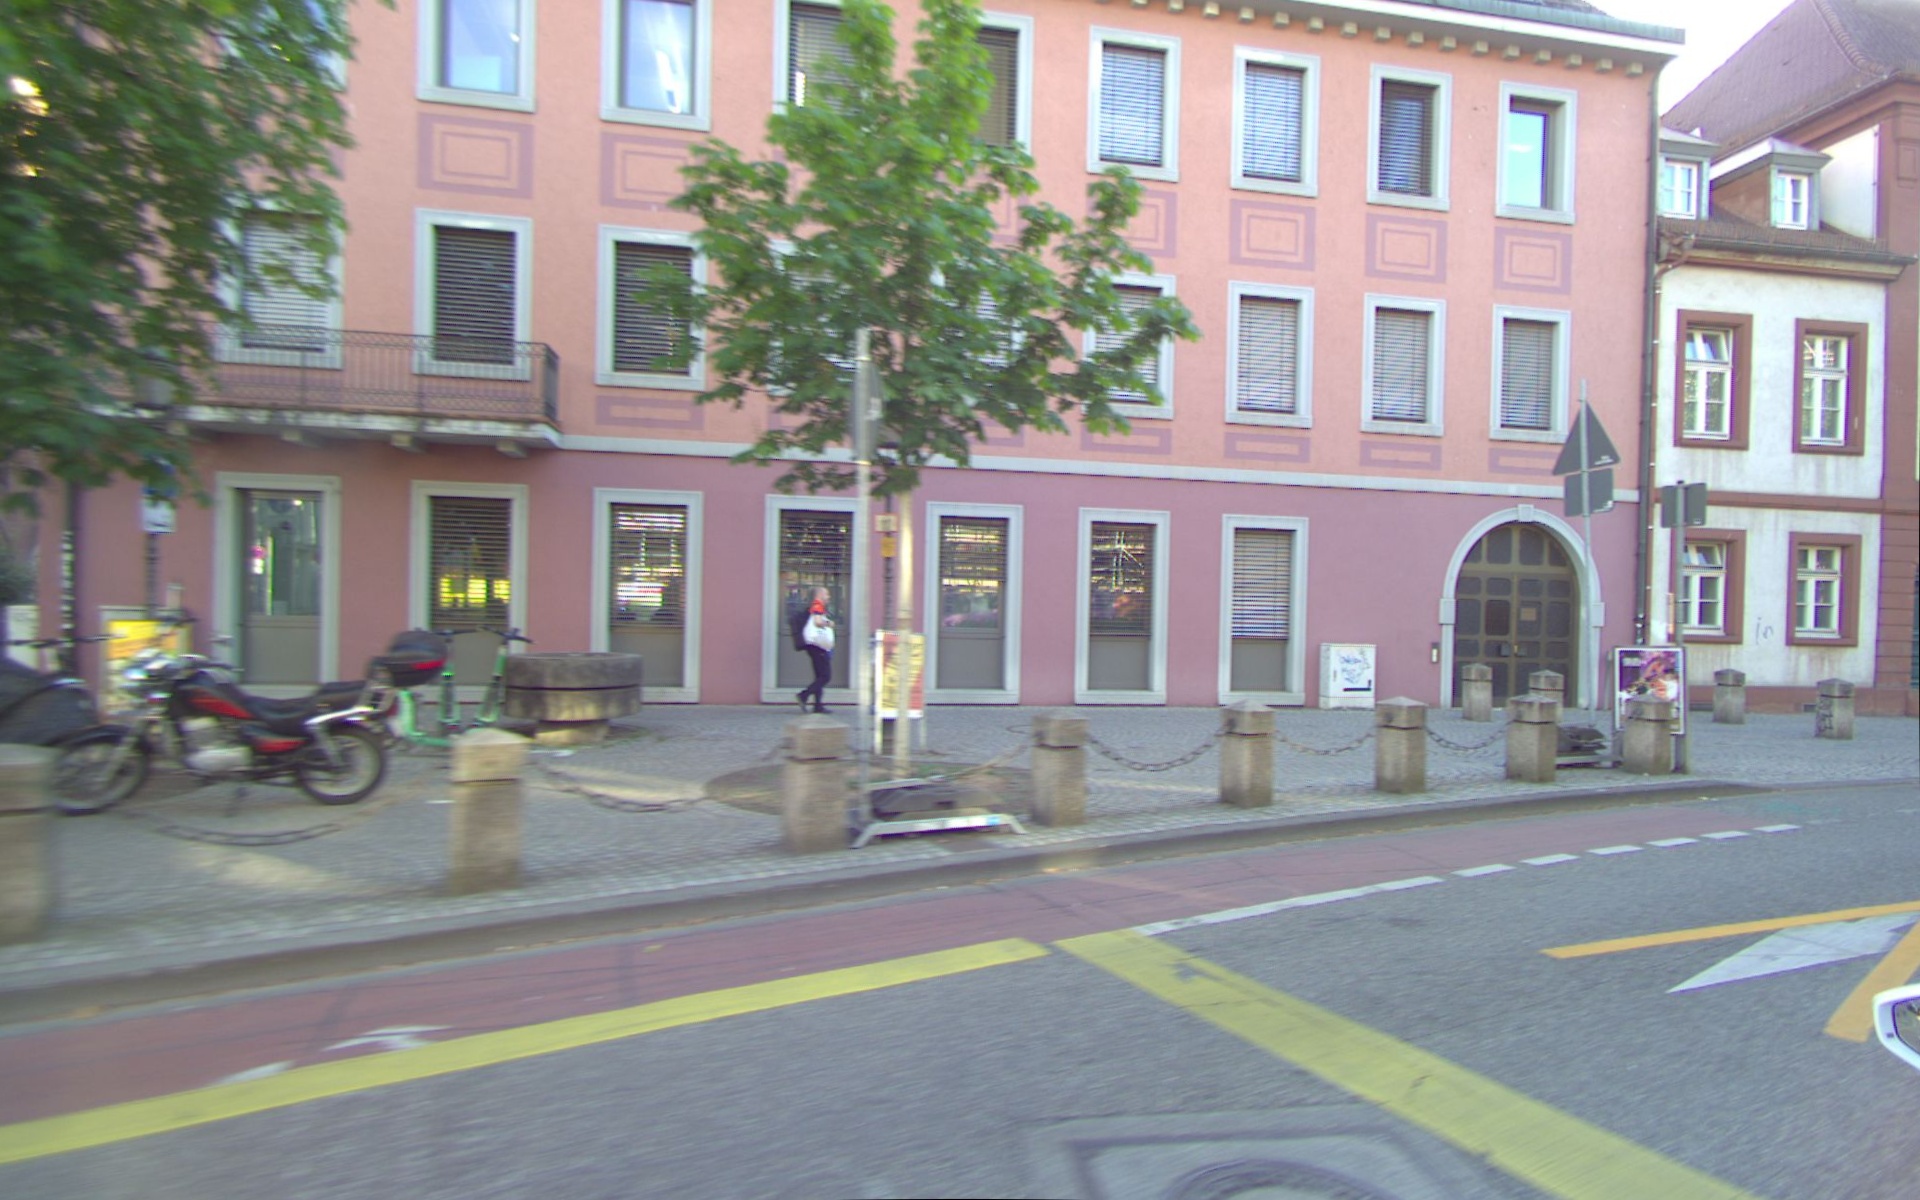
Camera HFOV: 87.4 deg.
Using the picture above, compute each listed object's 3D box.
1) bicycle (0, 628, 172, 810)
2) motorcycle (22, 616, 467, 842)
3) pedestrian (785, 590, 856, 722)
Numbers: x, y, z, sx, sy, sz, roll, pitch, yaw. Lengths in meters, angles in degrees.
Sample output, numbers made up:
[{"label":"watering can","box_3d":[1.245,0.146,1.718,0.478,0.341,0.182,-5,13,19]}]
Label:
[{"label":"bicycle","box_3d":[-6.807,0.833,7.634,1.972,1.222,0.681,-1,-3,34]},{"label":"motorcycle","box_3d":[-4.643,0.786,6.785,2.304,1.335,0.810,1,-1,-24]},{"label":"pedestrian","box_3d":[-1.899,0.740,13.633,0.854,1.711,0.791,1,1,-13]}]
